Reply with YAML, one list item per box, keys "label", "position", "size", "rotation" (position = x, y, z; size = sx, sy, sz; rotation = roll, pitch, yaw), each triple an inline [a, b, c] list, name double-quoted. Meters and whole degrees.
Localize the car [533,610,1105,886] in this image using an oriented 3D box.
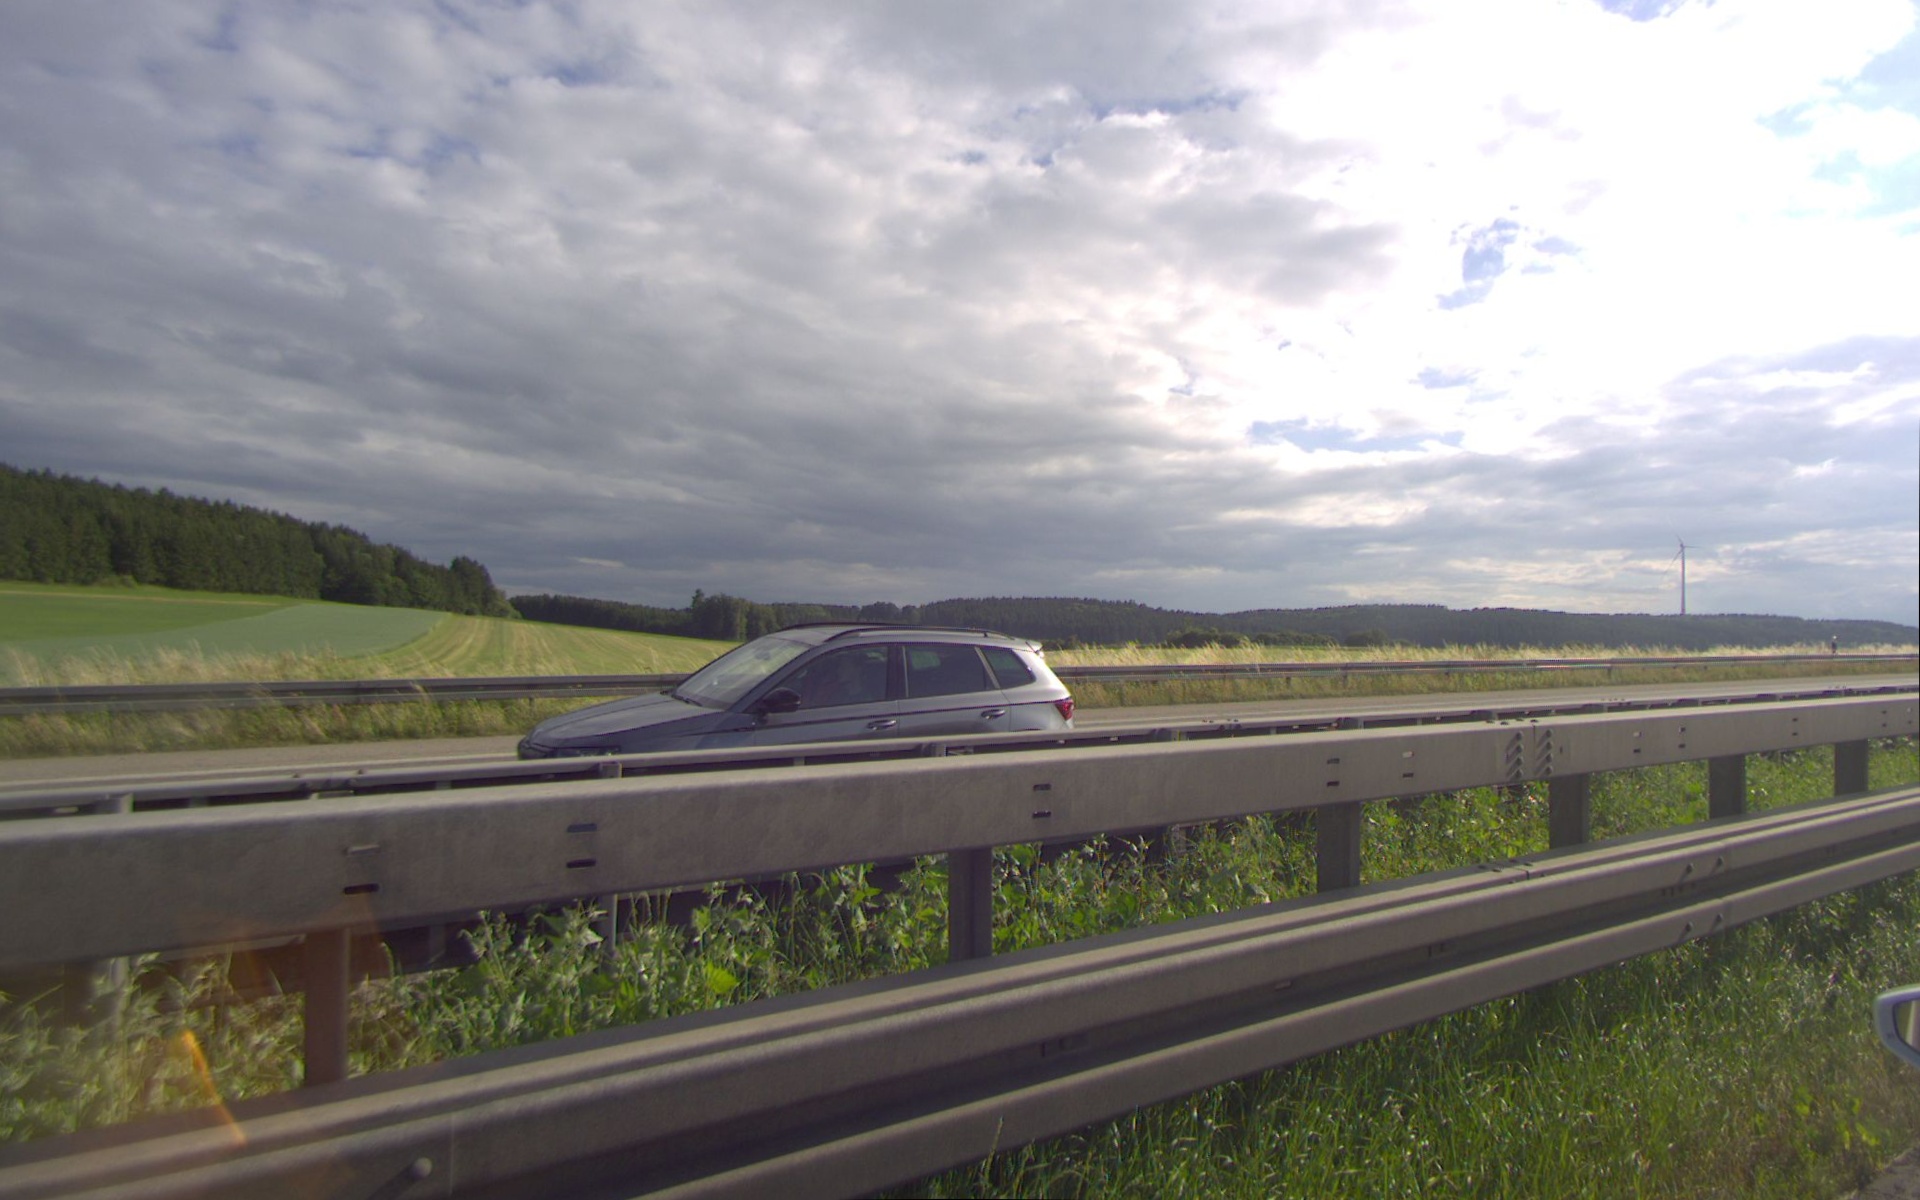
- label: "car"
  position: [-0.978, 0.942, 7.692]
  size: [4.019, 1.606, 1.607]
  rotation: [2, 0, -32]
